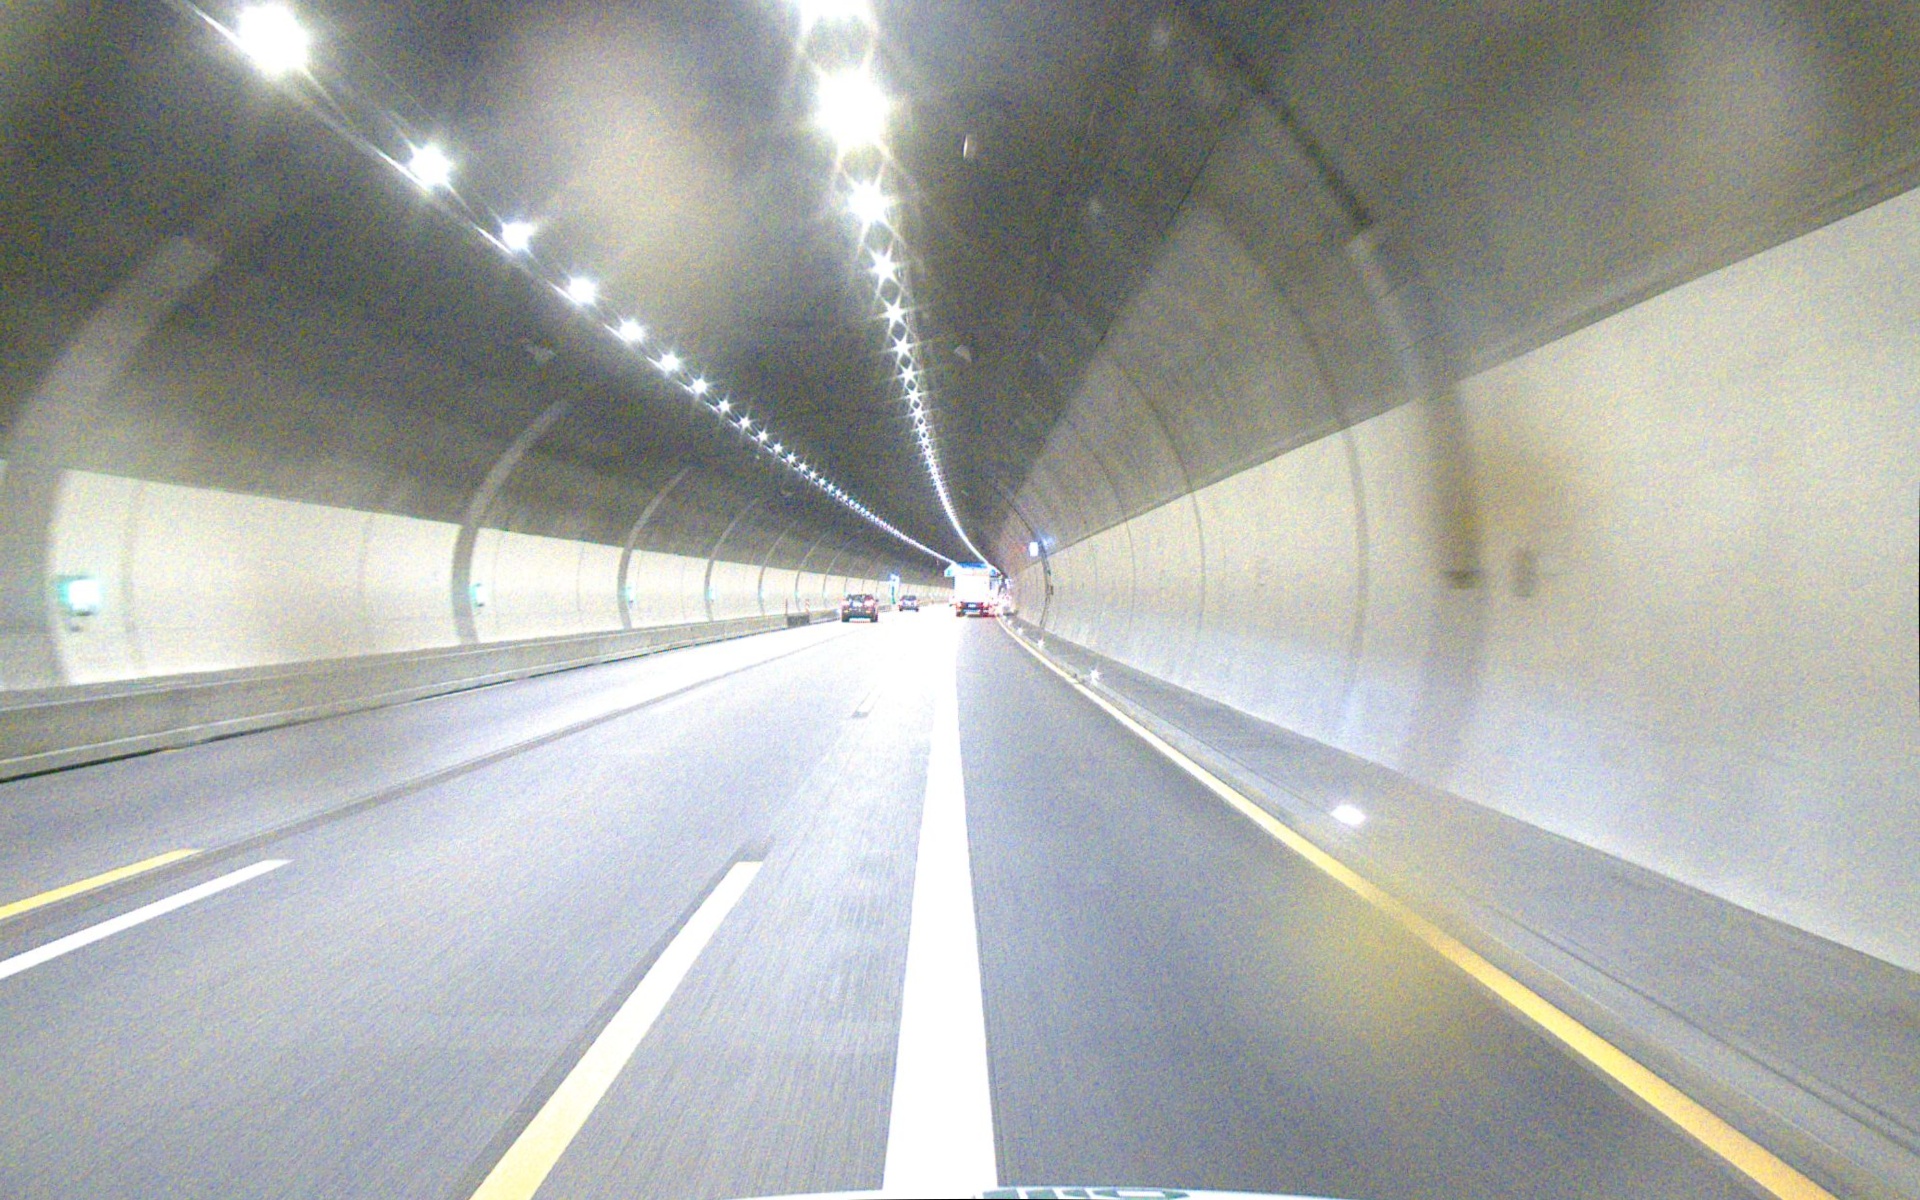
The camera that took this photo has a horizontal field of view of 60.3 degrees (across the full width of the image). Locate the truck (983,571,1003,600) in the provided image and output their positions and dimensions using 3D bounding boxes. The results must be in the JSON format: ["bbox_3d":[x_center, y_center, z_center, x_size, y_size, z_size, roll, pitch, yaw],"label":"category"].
[{"bbox_3d":[4.906,-2.159,248.103,2.863,4.118,14.030,-1,0,0],"label":"truck"}]

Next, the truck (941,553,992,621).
[{"bbox_3d":[0.343,-0.961,124.964,3.212,4.731,17.281,-1,0,-2],"label":"truck"}]

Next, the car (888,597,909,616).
[{"bbox_3d":[-5.407,0.533,145.698,1.776,1.546,3.999,0,2,-2],"label":"car"}]

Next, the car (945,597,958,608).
[{"bbox_3d":[-1.105,0.312,211.382,1.617,1.297,3.999,0,2,-2],"label":"car"}]

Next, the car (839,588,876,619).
[{"bbox_3d":[-5.563,0.167,89.769,1.775,1.646,4.000,0,1,-1],"label":"car"}]
